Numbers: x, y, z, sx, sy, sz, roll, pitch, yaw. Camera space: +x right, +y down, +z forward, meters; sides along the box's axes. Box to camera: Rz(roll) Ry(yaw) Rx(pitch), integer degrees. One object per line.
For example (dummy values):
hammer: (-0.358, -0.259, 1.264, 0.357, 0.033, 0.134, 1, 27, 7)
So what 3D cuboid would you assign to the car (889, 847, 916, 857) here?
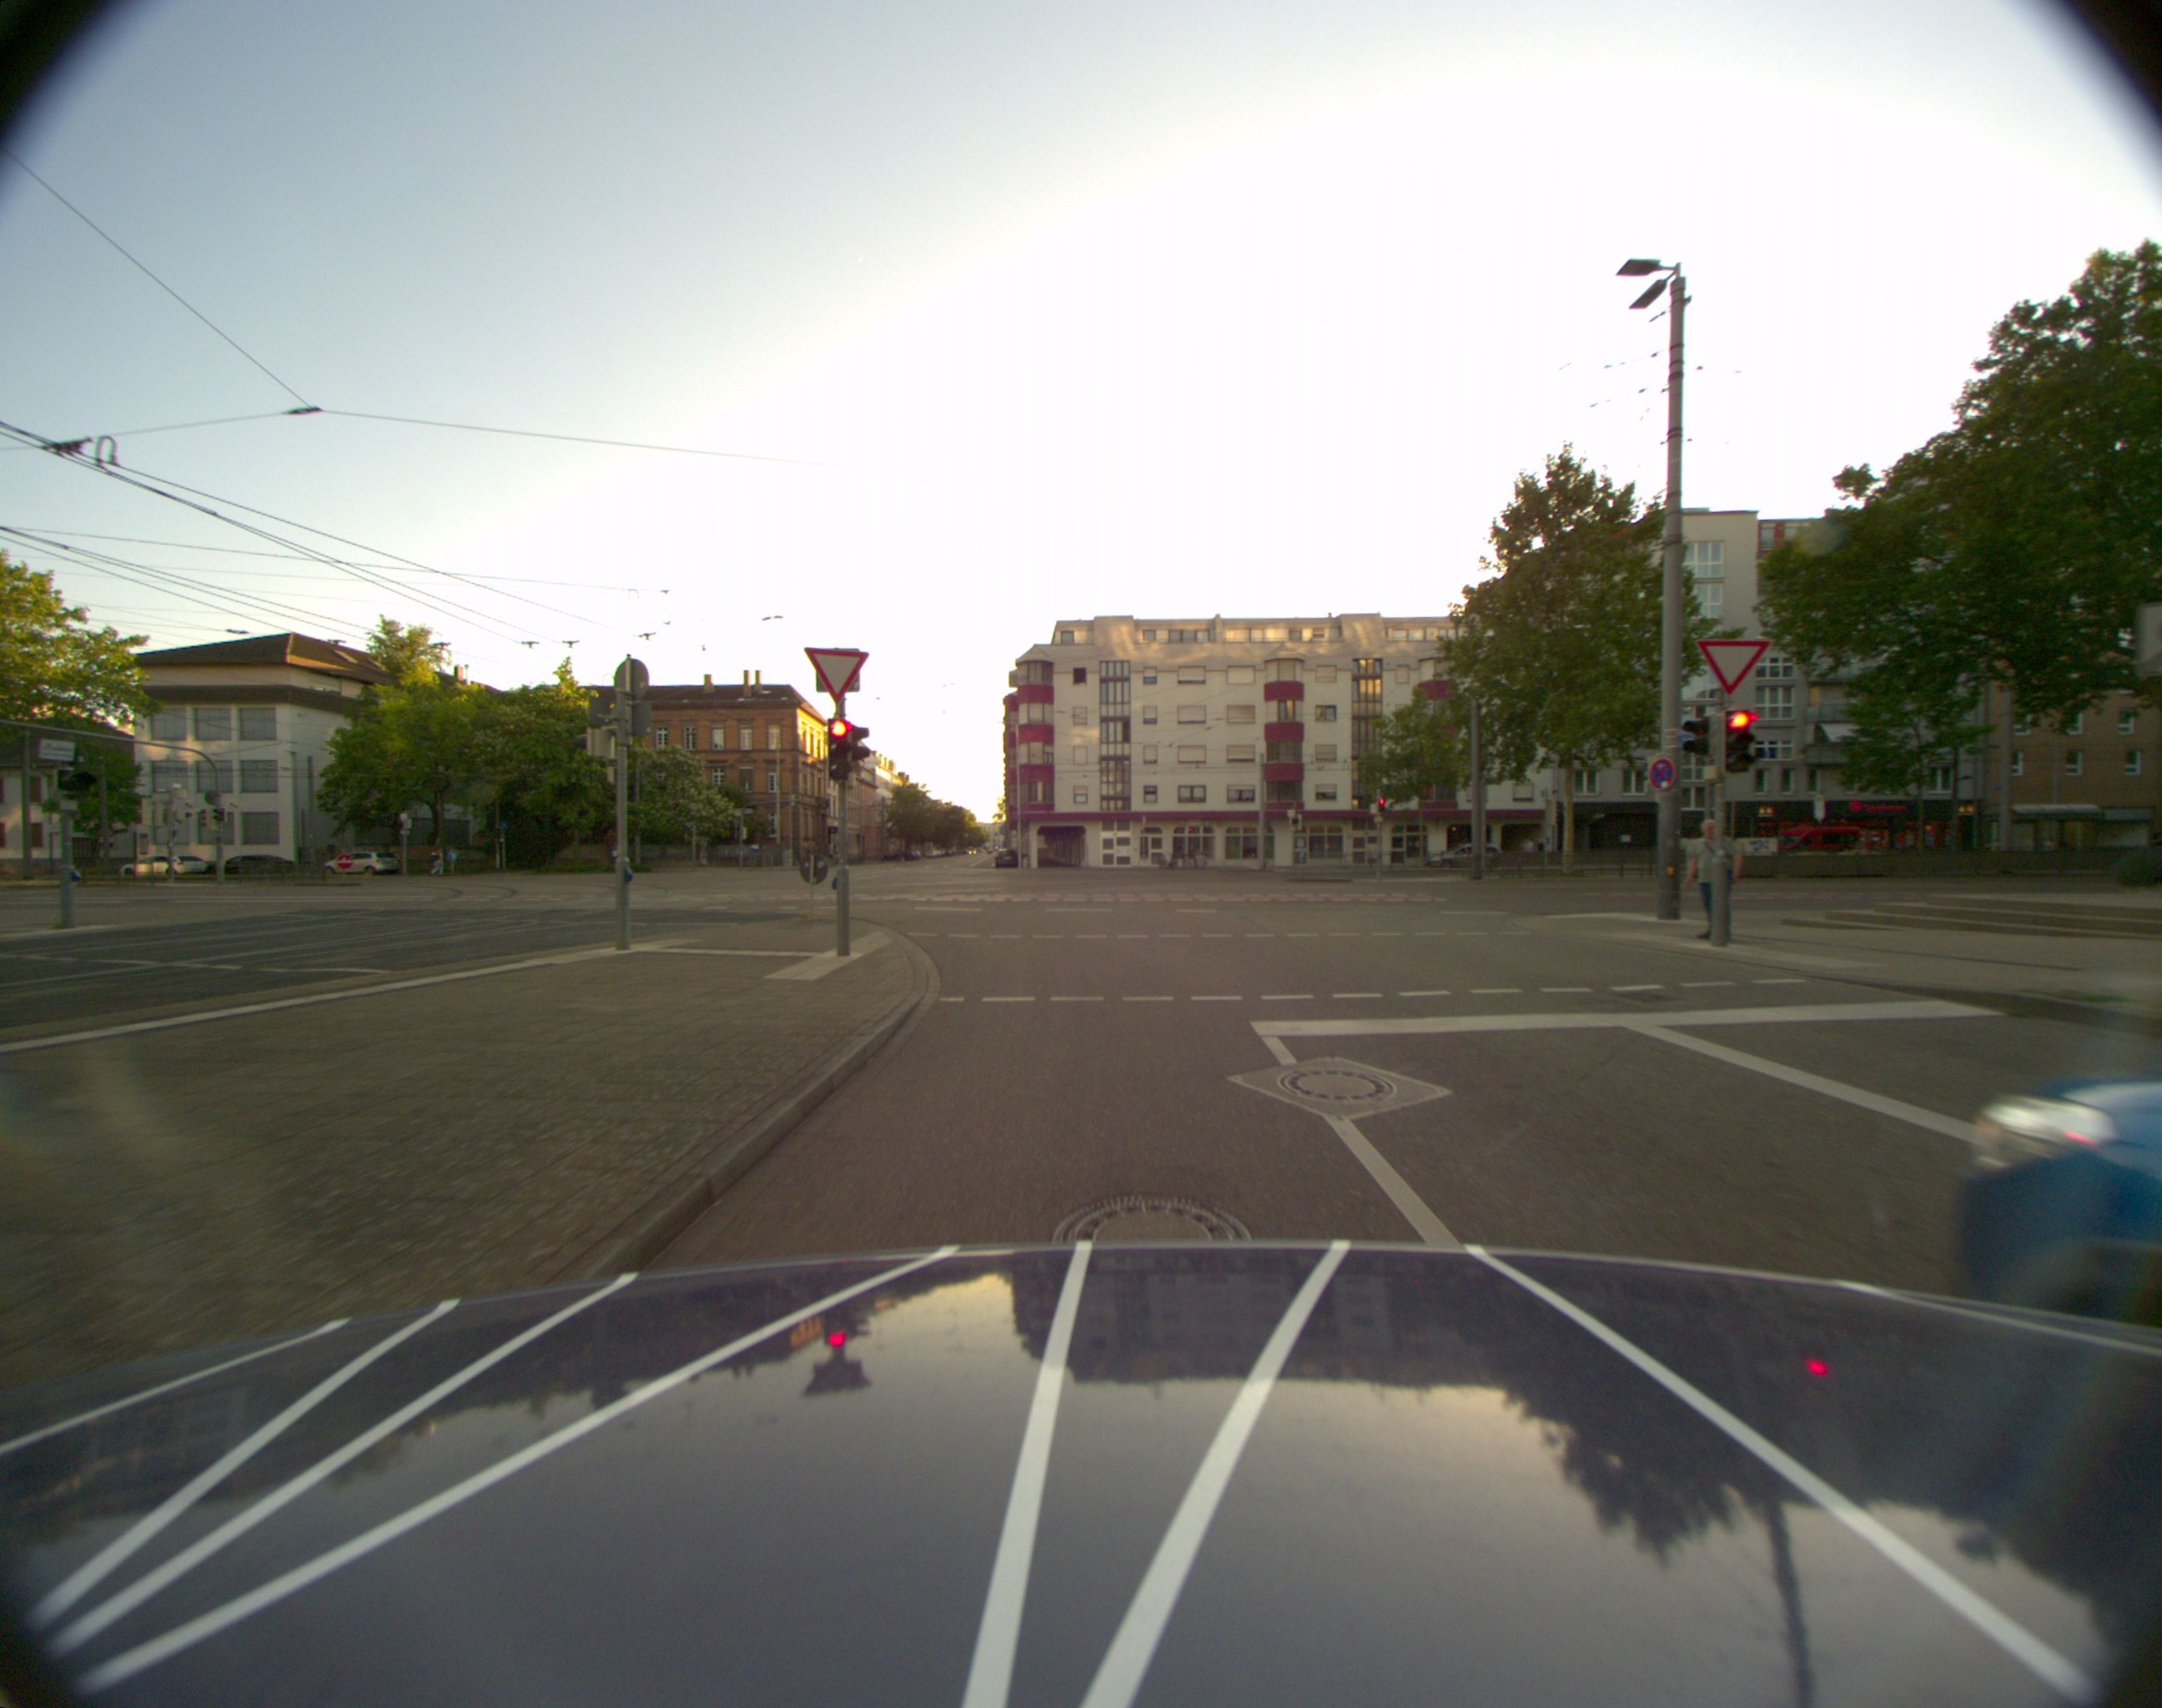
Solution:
car: (-26.187, -0.262, 111.759, 3.775, 1.477, 1.905, -1, 1, -10)

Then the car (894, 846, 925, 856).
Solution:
car: (-27.046, -0.450, 120.000, 4.706, 1.477, 1.905, -1, 1, -10)

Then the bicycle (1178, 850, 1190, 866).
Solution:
bicycle: (6.711, 0.249, 49.636, 0.515, 1.040, 1.902, 0, 1, -1)

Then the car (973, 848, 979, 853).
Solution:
car: (-32.504, -1.168, 235.980, 1.786, 1.449, 4.294, -1, 1, -7)

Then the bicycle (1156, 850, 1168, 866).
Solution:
bicycle: (5.292, 0.262, 49.540, 0.515, 1.040, 1.902, 0, 1, -1)

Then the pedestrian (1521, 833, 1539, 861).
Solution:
pedestrian: (29.726, -0.461, 50.310, 0.835, 1.796, 0.692, 0, 1, 3)

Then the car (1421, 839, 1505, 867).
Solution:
car: (22.219, -0.080, 44.293, 4.098, 1.587, 1.666, 0, 1, 2)

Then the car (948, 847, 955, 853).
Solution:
car: (-32.432, -0.931, 189.999, 1.787, 1.427, 4.292, -1, 1, -10)

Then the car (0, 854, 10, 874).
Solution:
car: (-76.351, 0.703, 51.641, 4.229, 1.416, 1.999, 0, 1, -1)

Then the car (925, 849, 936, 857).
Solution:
car: (-28.539, -0.187, 144.046, 1.787, 1.449, 4.292, -1, 1, -10)

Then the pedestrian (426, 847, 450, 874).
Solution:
pedestrian: (-36.803, 0.377, 43.506, 0.579, 1.517, 0.817, 0, 1, 6)

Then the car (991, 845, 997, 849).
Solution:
car: (-28.275, -2.241, 247.282, 1.787, 1.449, 4.293, -1, 1, -8)

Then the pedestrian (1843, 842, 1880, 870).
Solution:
pedestrian: (42.061, 0.097, 40.942, 0.997, 1.445, 0.938, 0, 1, 1)

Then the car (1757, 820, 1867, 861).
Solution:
car: (46.691, -0.862, 48.609, 5.077, 2.526, 1.851, 0, 1, 2)

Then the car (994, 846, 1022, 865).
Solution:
car: (-5.712, 0.072, 59.721, 2.007, 1.449, 4.295, 0, 1, -3)

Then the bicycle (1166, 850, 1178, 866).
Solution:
bicycle: (5.953, 0.245, 49.571, 0.515, 1.040, 1.902, 0, 1, -1)

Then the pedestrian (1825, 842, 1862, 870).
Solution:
pedestrian: (41.090, 0.100, 40.959, 0.997, 1.445, 0.938, 0, 1, 1)

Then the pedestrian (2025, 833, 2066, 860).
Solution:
pedestrian: (52.055, -0.418, 41.000, 0.997, 1.445, 0.938, 0, 1, 1)

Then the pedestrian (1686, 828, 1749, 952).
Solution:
pedestrian: (9.032, 0.485, 10.799, 0.545, 1.691, 0.709, 0, 1, 29)

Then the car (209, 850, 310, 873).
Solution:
car: (-53.932, 0.477, 49.937, 4.357, 1.416, 1.999, 0, 1, -1)

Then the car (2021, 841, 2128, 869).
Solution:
car: (59.588, 0.052, 45.623, 4.098, 1.587, 1.666, 0, 1, 2)

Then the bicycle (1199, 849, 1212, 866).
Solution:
bicycle: (8.097, 0.223, 49.346, 0.515, 1.040, 1.902, 0, 1, -1)

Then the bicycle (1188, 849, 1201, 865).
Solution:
bicycle: (7.395, 0.168, 49.594, 0.515, 1.040, 1.902, 0, 1, -1)

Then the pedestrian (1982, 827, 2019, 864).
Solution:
pedestrian: (49.154, -0.449, 40.623, 0.808, 1.913, 0.938, 0, 1, 1)

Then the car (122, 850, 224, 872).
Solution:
car: (-59.676, 0.435, 49.972, 4.229, 1.416, 1.999, 0, 1, -1)

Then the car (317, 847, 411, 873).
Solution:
car: (-47.115, 0.356, 49.972, 4.229, 1.623, 1.999, 0, 1, -1)

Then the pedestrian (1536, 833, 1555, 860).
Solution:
pedestrian: (30.980, -0.489, 50.684, 0.835, 1.796, 0.692, 0, 1, 3)
